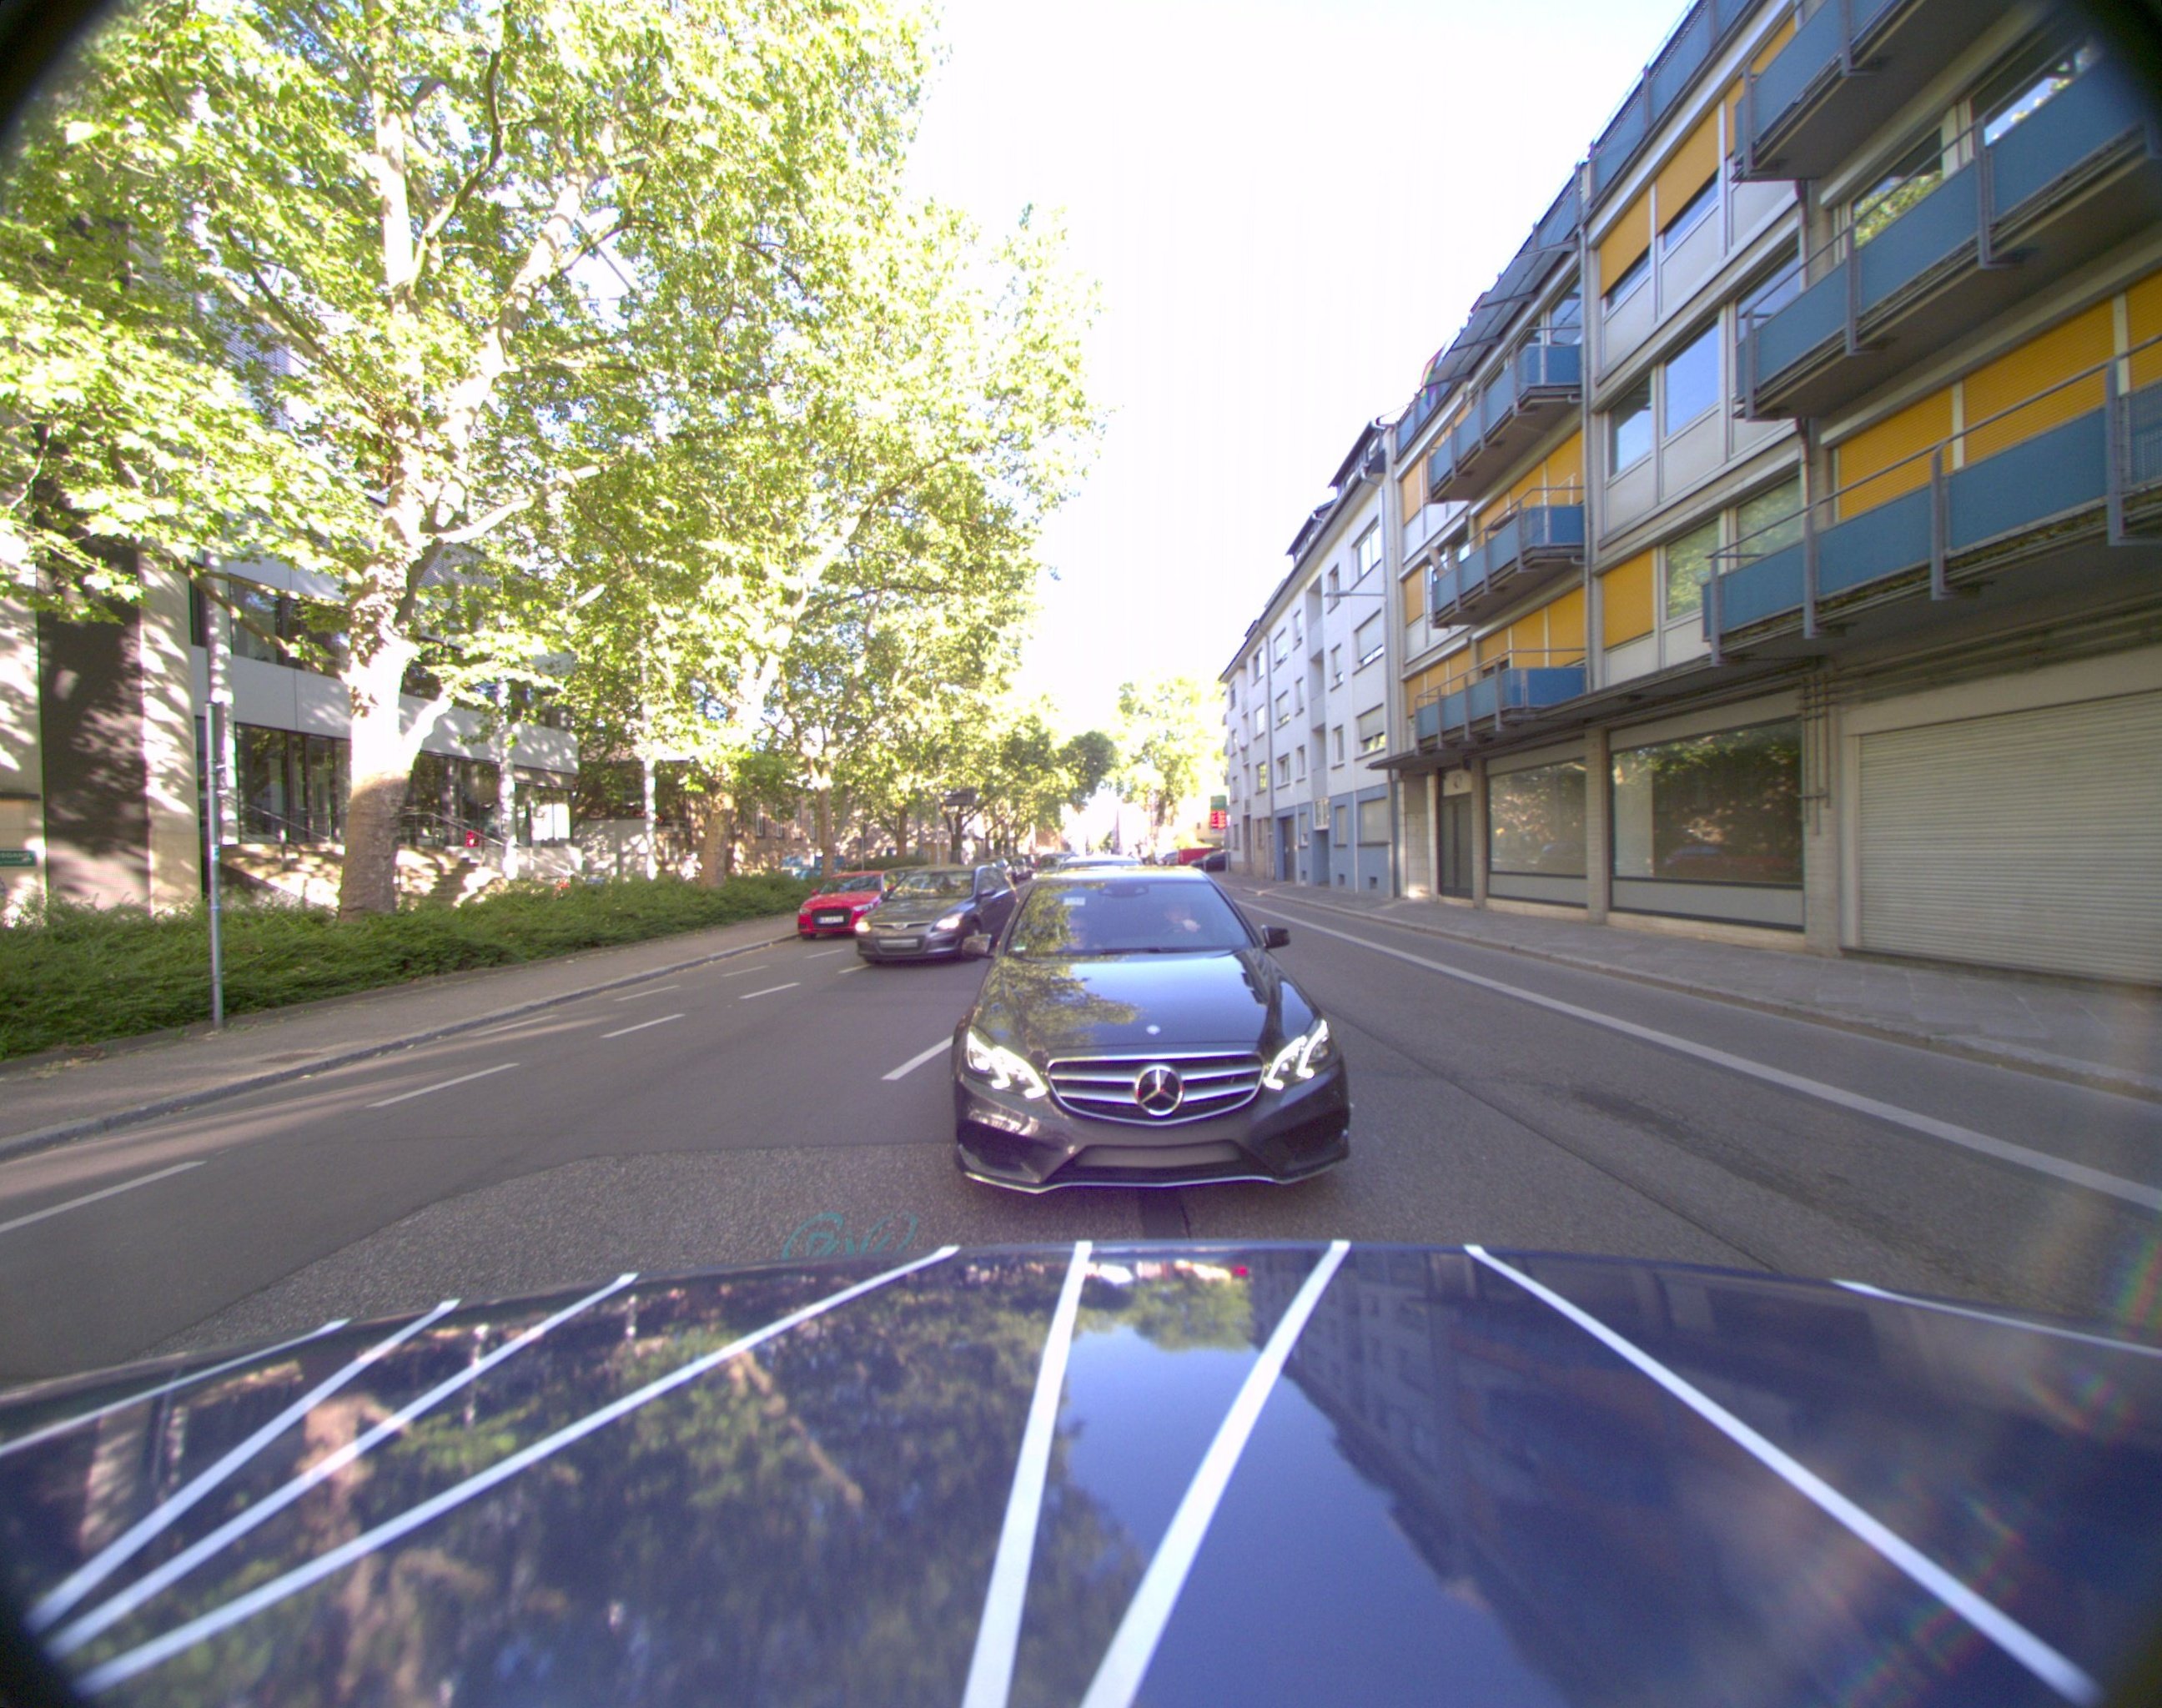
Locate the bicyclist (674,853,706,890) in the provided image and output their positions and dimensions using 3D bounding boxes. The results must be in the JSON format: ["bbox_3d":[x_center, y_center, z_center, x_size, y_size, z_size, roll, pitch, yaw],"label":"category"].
[{"bbox_3d":[-17.788,0.799,34.581,1.036,1.610,0.698,-2,1,2],"label":"bicyclist"}]

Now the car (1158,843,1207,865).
[{"bbox_3d":[11.032,-0.009,82.815,4.990,2.181,2.000,-2,1,1],"label":"car"}]

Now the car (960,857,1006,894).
[{"bbox_3d":[-4.759,1.004,37.392,1.741,1.622,4.091,-2,0,0],"label":"car"}]

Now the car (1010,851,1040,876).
[{"bbox_3d":[-4.351,0.719,59.841,1.992,1.795,4.376,-2,0,0],"label":"car"}]

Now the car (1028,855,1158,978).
[{"bbox_3d":[0.190,0.841,12.482,1.646,1.520,4.619,-4,0,1],"label":"car"}]

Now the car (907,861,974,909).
[{"bbox_3d":[-5.062,1.077,27.844,1.681,1.484,3.918,-4,0,0],"label":"car"}]

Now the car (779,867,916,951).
[{"bbox_3d":[-5.233,1.173,17.656,1.830,1.519,4.142,-4,0,0],"label":"car"}]

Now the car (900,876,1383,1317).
[{"bbox_3d":[0.221,0.949,4.732,1.740,1.448,3.864,-2,0,0],"label":"car"}]

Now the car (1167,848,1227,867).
[{"bbox_3d":[10.155,0.284,66.694,4.990,1.486,2.000,-2,0,1],"label":"car"}]

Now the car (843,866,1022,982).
[{"bbox_3d":[-2.225,1.015,12.531,1.647,1.473,3.978,-2,0,8],"label":"car"}]

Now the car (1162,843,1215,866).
[{"bbox_3d":[10.908,0.025,77.332,4.990,2.181,2.000,-2,1,1],"label":"car"}]

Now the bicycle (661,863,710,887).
[{"bbox_3d":[-17.996,0.950,34.594,1.798,1.009,0.734,-2,1,3],"label":"bicycle"}]

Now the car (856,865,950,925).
[{"bbox_3d":[-5.176,1.138,22.624,1.741,1.444,4.091,-4,0,0],"label":"car"}]

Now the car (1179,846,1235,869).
[{"bbox_3d":[10.132,0.269,61.285,4.146,1.681,2.000,-2,0,1],"label":"car"}]

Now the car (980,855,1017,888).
[{"bbox_3d":[-4.551,0.924,42.362,1.634,1.677,3.907,-2,0,0],"label":"car"}]

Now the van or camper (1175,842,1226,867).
[{"bbox_3d":[10.054,0.023,64.191,3.997,2.002,2.000,-2,1,0],"label":"van or camper"}]

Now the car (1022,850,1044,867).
[{"bbox_3d":[-4.389,0.432,70.438,1.741,1.469,4.091,-2,0,0],"label":"car"}]

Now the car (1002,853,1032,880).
[{"bbox_3d":[-4.573,0.853,54.712,1.741,1.785,3.895,-2,0,0],"label":"car"}]

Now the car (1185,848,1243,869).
[{"bbox_3d":[10.309,0.324,58.954,4.146,1.486,2.000,-2,0,1],"label":"car"}]

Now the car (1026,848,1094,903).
[{"bbox_3d":[-0.700,0.735,28.393,1.784,1.760,4.386,-4,0,7],"label":"car"}]

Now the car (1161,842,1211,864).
[{"bbox_3d":[11.028,-0.102,80.183,4.990,2.181,2.000,-2,1,1],"label":"car"}]
